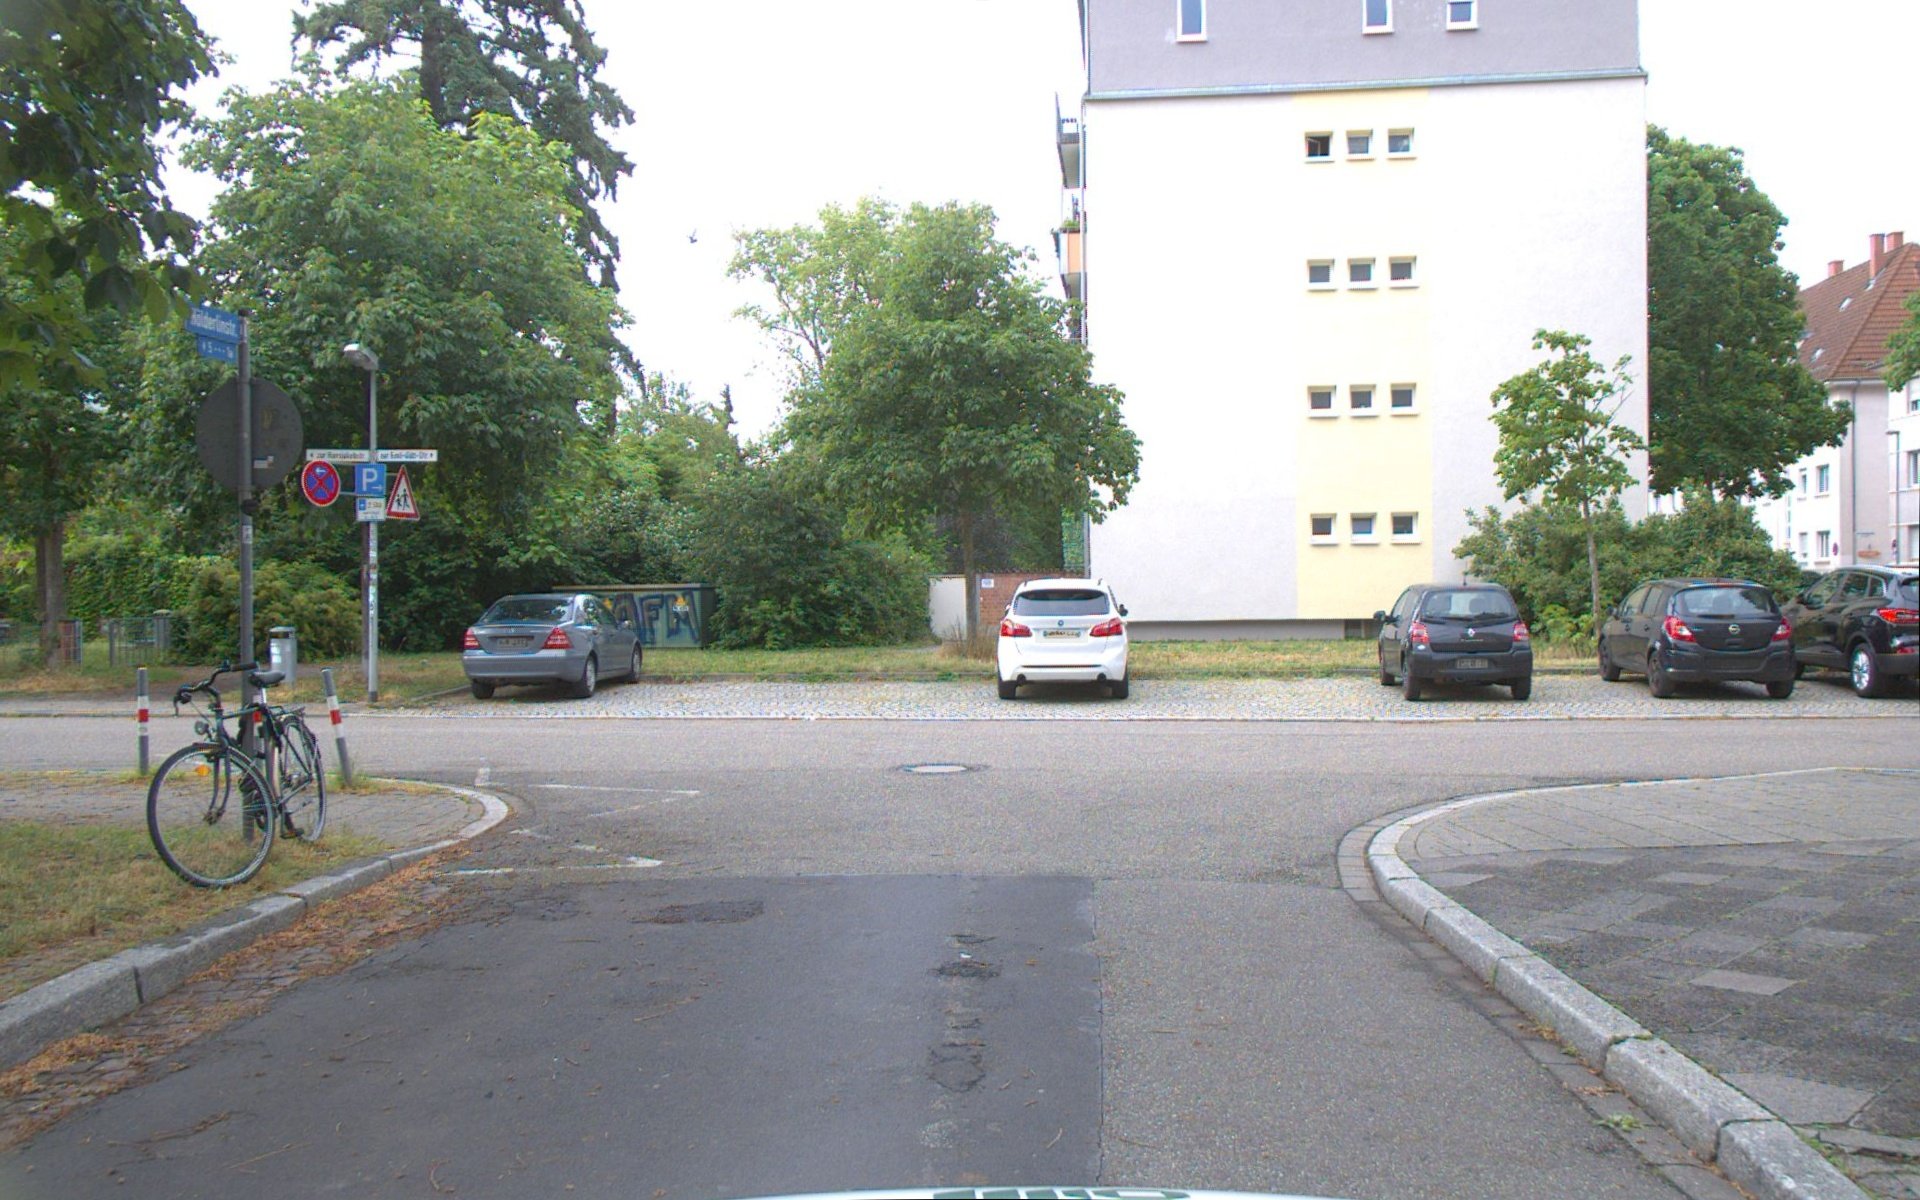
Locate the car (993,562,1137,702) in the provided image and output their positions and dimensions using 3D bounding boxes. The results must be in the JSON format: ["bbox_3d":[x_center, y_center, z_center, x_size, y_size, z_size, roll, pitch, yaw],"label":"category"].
[{"bbox_3d":[1.569,0.361,23.425,1.838,1.587,4.154,1,4,6],"label":"car"}]

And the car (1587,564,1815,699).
[{"bbox_3d":[9.891,0.341,22.419,1.796,1.593,4.362,0,2,10],"label":"car"}]

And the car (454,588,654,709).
[{"bbox_3d":[-5.789,0.626,24.144,1.640,1.479,4.562,-1,2,2],"label":"car"}]

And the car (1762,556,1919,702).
[{"bbox_3d":[12.218,0.298,21.847,1.869,1.727,4.073,0,2,10],"label":"car"}]

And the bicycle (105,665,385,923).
[{"bbox_3d":[-3.546,0.906,8.417,0.500,1.002,2.182,2,1,-1],"label":"bicycle"}]

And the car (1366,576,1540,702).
[{"bbox_3d":[6.752,0.465,23.063,1.796,1.489,4.565,0,2,10],"label":"car"}]
